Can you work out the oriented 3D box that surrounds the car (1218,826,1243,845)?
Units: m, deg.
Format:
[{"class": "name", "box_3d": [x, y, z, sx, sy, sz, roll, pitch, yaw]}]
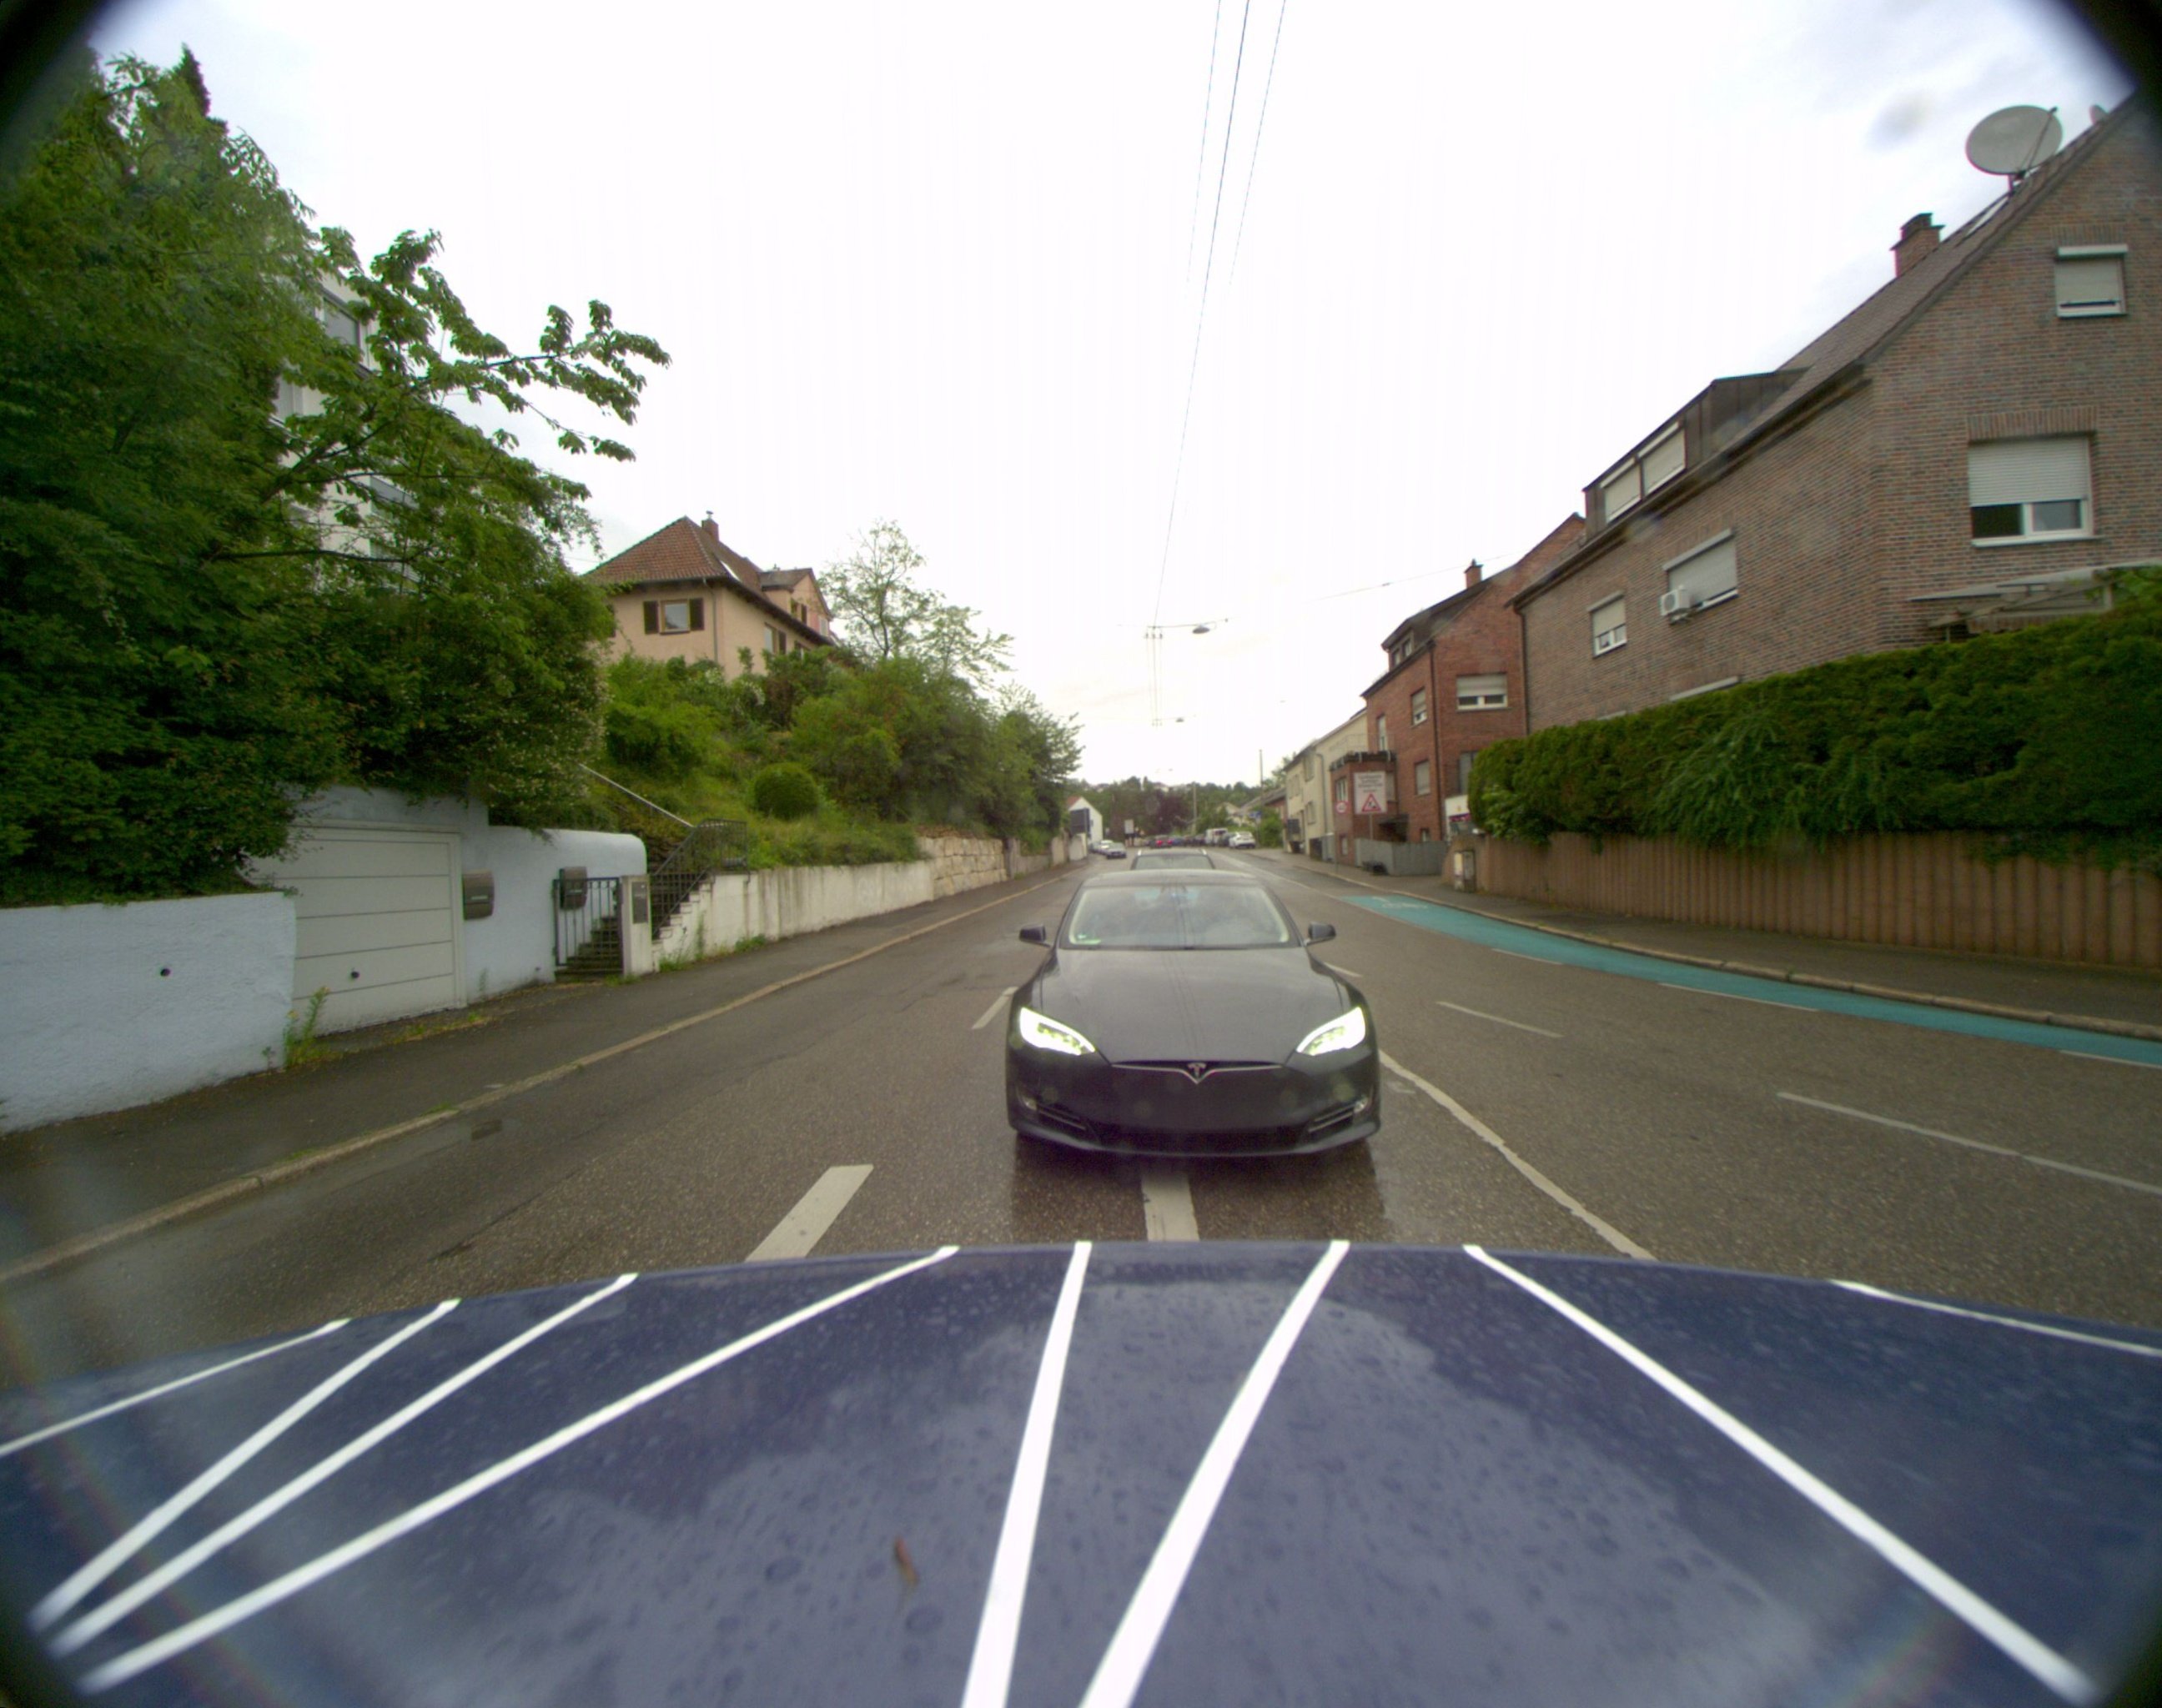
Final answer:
[{"class": "car", "box_3d": [15.732, -1.909, 80.116, 1.814, 1.793, 4.263, -4, 1, 2]}]

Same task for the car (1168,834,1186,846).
[{"class": "car", "box_3d": [12.977, -1.942, 102.690, 1.624, 1.482, 3.901, -4, 1, -4]}]

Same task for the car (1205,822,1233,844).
[{"class": "car", "box_3d": [15.622, -2.338, 86.146, 2.257, 2.273, 4.546, -4, 1, 0]}]

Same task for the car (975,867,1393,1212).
[{"class": "car", "box_3d": [0.613, 0.908, 5.490, 1.870, 1.407, 4.000, -2, 1, 4]}]

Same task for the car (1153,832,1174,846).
[{"class": "car", "box_3d": [9.990, -1.880, 92.262, 1.854, 1.671, 4.170, 0, 2, -3]}]

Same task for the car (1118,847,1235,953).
[{"class": "car", "box_3d": [1.647, 0.710, 13.892, 1.789, 1.580, 3.784, -2, 1, 4]}]

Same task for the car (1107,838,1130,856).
[{"class": "car", "box_3d": [3.654, -0.639, 73.175, 2.002, 1.596, 4.360, -2, -1, 4]}]

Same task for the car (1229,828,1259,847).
[{"class": "car", "box_3d": [15.364, -1.558, 71.968, 1.946, 1.557, 4.263, -4, 1, 2]}]

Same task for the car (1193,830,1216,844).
[{"class": "car", "box_3d": [14.882, -2.002, 91.499, 1.654, 1.482, 4.009, -4, 1, -6]}]

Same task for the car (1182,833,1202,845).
[{"class": "car", "box_3d": [14.158, -1.868, 97.408, 1.654, 1.388, 3.859, -4, 1, -4]}]

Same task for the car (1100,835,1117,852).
[{"class": "car", "box_3d": [3.192, -1.293, 89.194, 1.820, 1.855, 4.038, -2, 2, -1]}]
